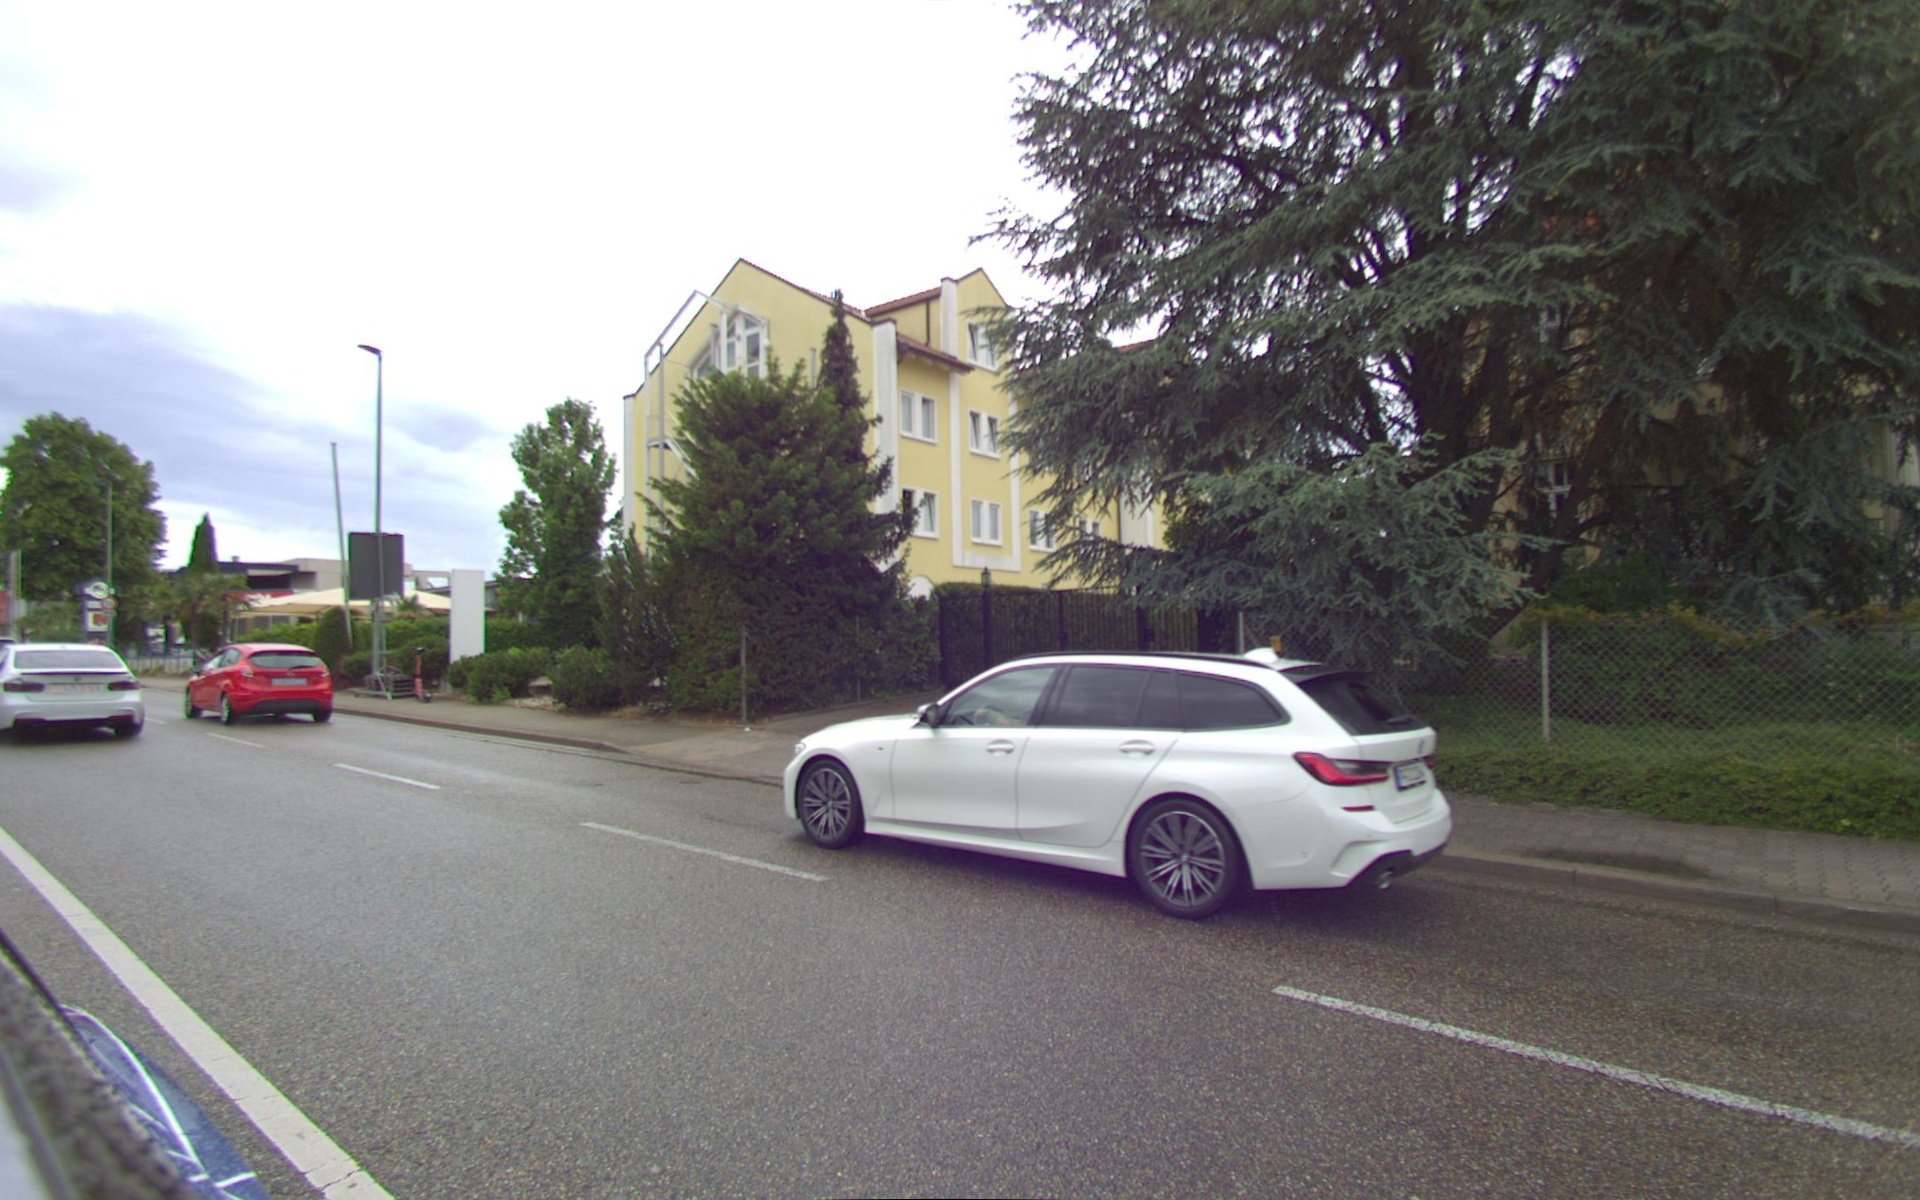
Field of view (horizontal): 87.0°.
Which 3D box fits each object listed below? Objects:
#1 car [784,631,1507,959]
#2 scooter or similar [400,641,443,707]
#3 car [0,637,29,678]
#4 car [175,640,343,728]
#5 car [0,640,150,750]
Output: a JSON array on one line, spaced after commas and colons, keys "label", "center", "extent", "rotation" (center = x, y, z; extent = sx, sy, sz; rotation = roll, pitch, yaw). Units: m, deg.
[{"label": "car", "center": [0.956, 0.954, 6.708], "extent": [4.429, 1.471, 1.767], "rotation": [-1, -3, 41]}, {"label": "scooter or similar", "center": [-12.188, 1.650, 22.874], "extent": [0.498, 1.416, 1.884], "rotation": [2, -3, -38]}, {"label": "car", "center": [-41.762, 2.471, 43.708], "extent": [3.777, 1.687, 1.742], "rotation": [-1, -2, 39]}, {"label": "car", "center": [-13.427, 1.535, 19.306], "extent": [3.778, 1.487, 1.678], "rotation": [-1, -4, 40]}, {"label": "car", "center": [-14.141, 1.365, 15.623], "extent": [4.269, 1.392, 1.797], "rotation": [-1, -1, 40]}]
